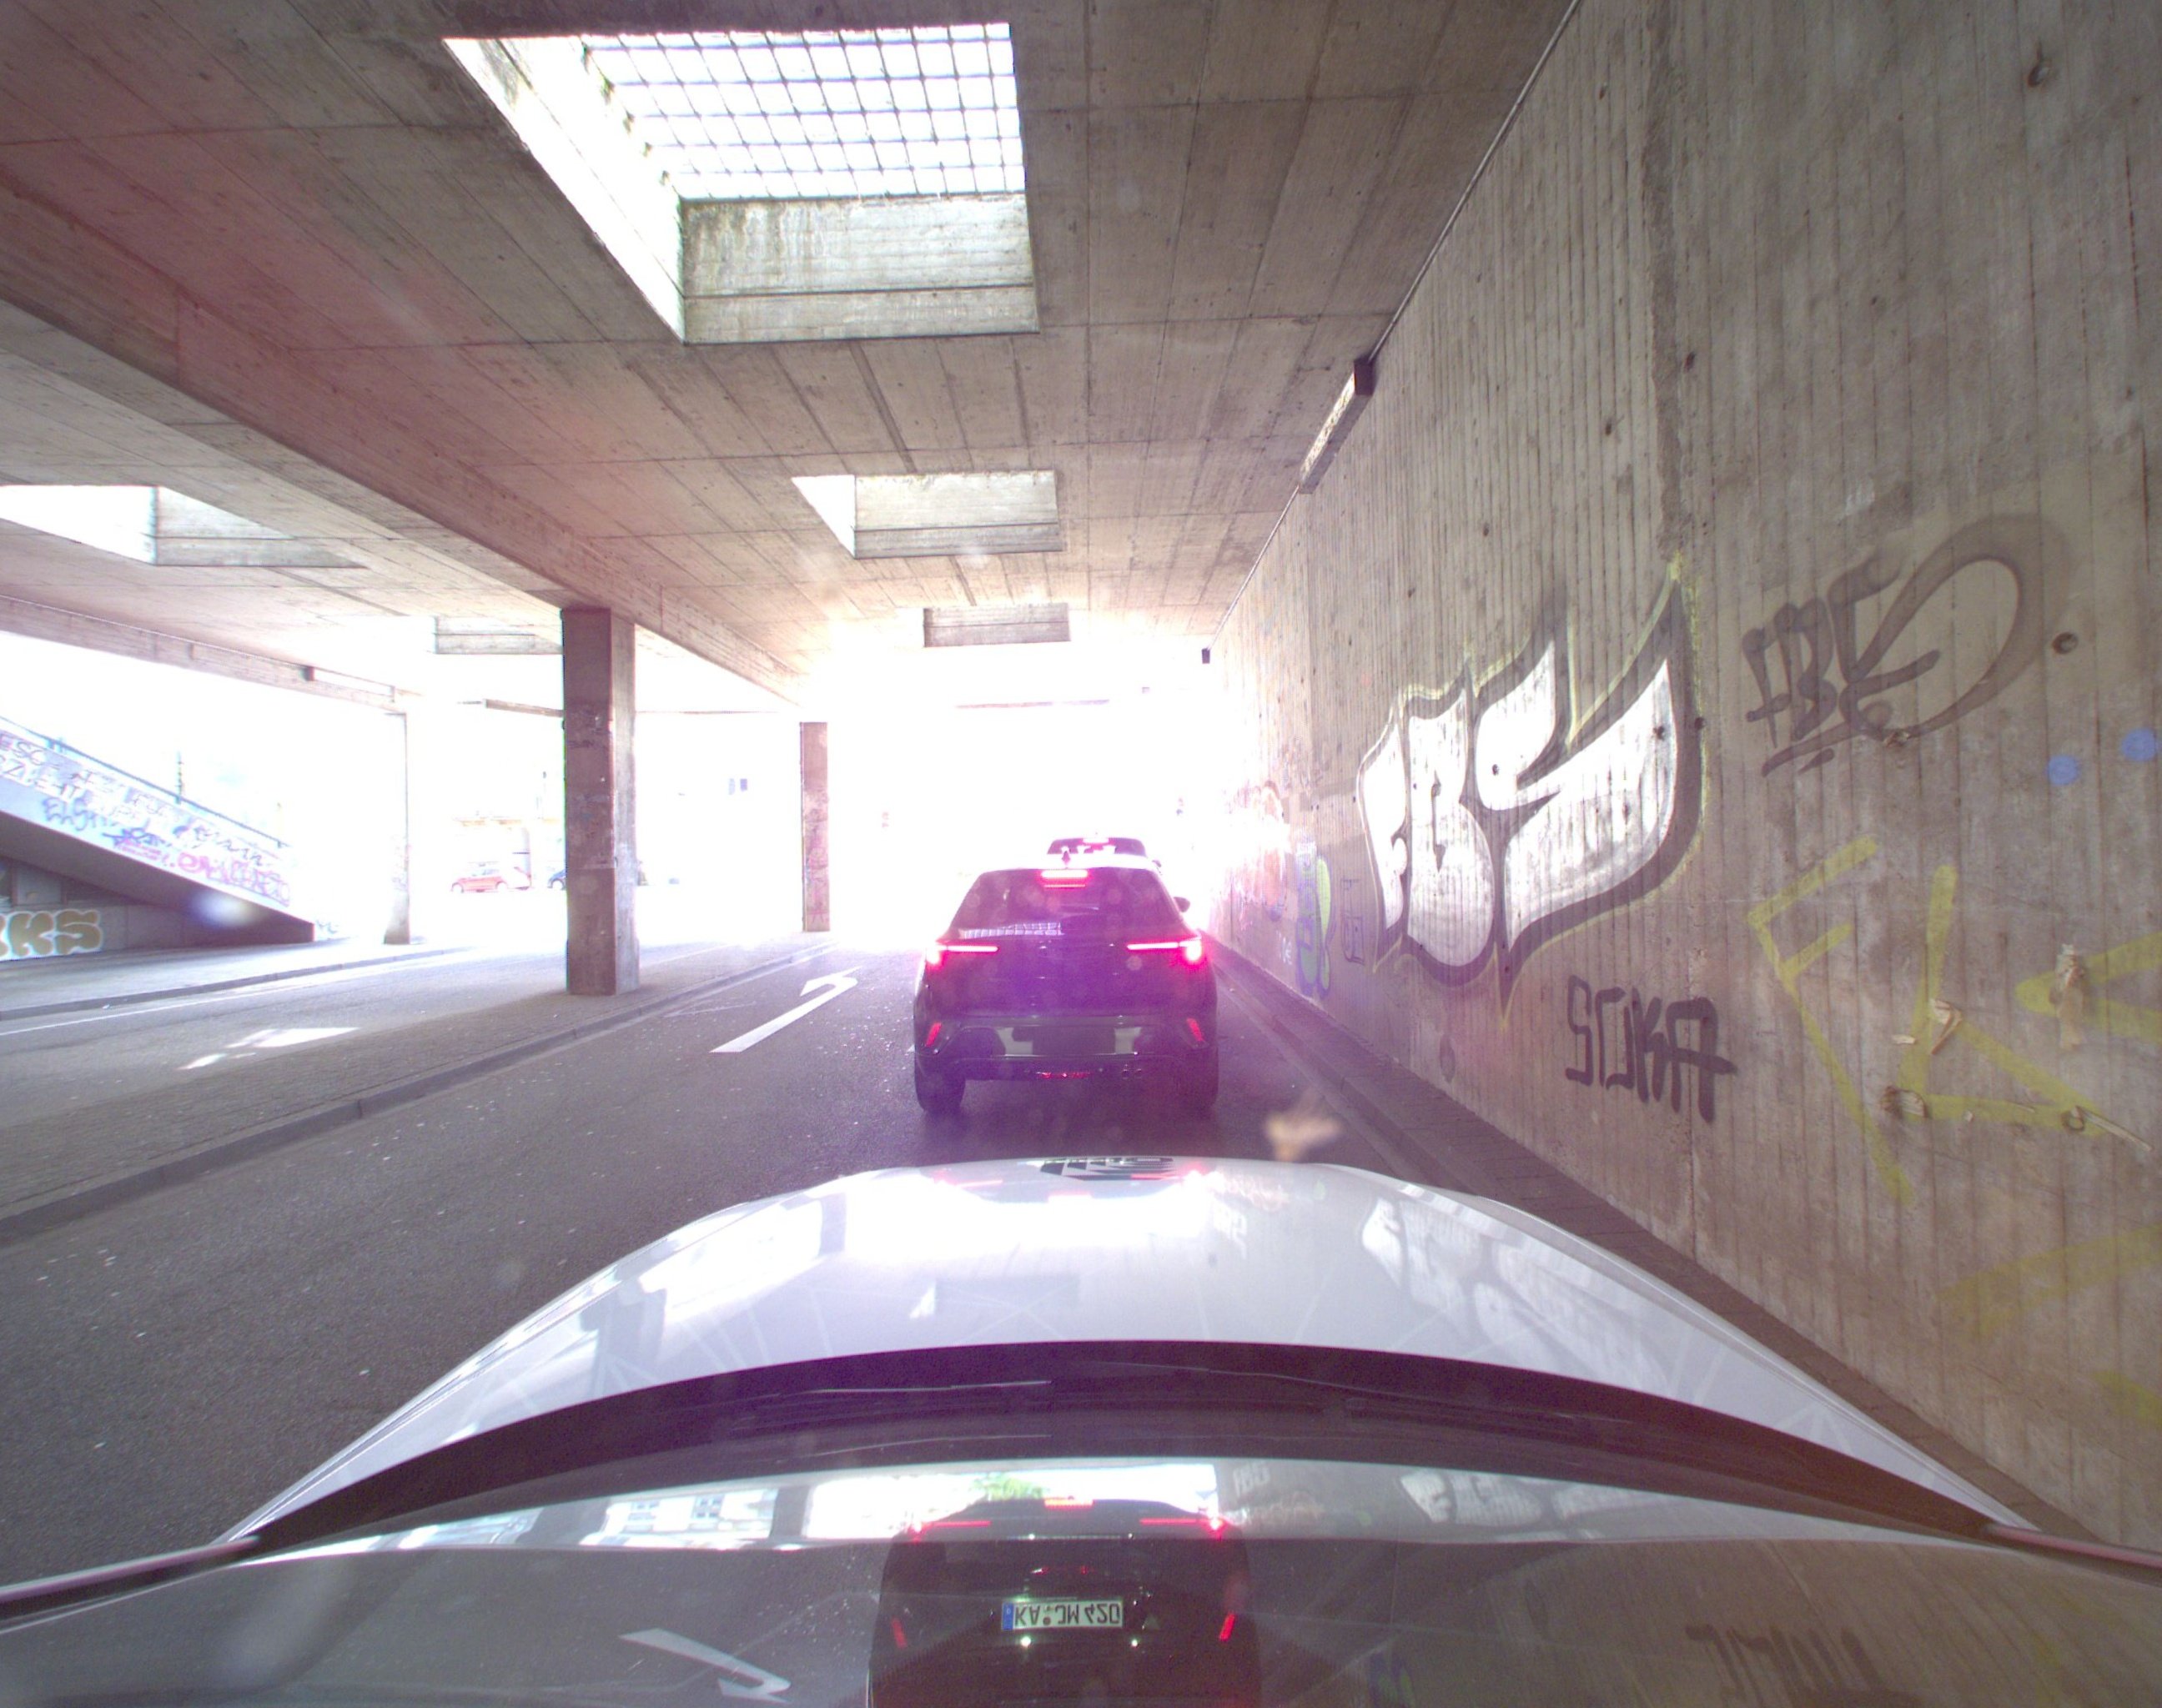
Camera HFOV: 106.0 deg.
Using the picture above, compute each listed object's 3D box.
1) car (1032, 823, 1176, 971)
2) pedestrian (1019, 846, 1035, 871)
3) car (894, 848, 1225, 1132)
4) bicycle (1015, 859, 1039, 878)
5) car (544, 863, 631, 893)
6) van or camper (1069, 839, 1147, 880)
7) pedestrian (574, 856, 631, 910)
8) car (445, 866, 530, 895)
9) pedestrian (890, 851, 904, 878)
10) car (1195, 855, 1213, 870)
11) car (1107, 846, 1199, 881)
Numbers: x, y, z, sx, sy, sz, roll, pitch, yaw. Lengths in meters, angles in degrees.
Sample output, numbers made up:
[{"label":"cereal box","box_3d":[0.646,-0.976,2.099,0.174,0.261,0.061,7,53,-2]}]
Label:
[{"label":"car","box_3d":[0.356,0.540,12.182,1.779,1.833,3.962,-1,0,2]},{"label":"pedestrian","box_3d":[-3.397,0.265,51.643,0.729,1.585,0.894,0,-1,18]},{"label":"car","box_3d":[-0.040,0.718,6.307,1.746,1.498,4.002,0,0,2]},{"label":"bicycle","box_3d":[-3.413,0.899,51.556,0.730,1.130,2.036,-2,0,19]},{"label":"car","box_3d":[-27.392,1.298,45.270,3.742,1.508,1.752,-2,0,0]},{"label":"van or camper","box_3d":[1.486,0.281,43.557,3.854,2.013,2.005,-2,0,9]},{"label":"pedestrian","box_3d":[-15.939,0.944,27.135,1.103,1.737,1.146,-2,0,15]},{"label":"car","box_3d":[-32.844,1.450,45.123,3.519,1.506,1.563,-2,0,2]},{"label":"pedestrian","box_3d":[-12.040,0.675,53.166,0.618,1.705,0.726,0,-1,16]},{"label":"car","box_3d":[14.847,1.020,98.201,1.982,1.641,4.604,-2,0,9]},{"label":"car","box_3d":[3.497,0.413,38.887,1.974,1.534,4.764,-2,0,40]}]
